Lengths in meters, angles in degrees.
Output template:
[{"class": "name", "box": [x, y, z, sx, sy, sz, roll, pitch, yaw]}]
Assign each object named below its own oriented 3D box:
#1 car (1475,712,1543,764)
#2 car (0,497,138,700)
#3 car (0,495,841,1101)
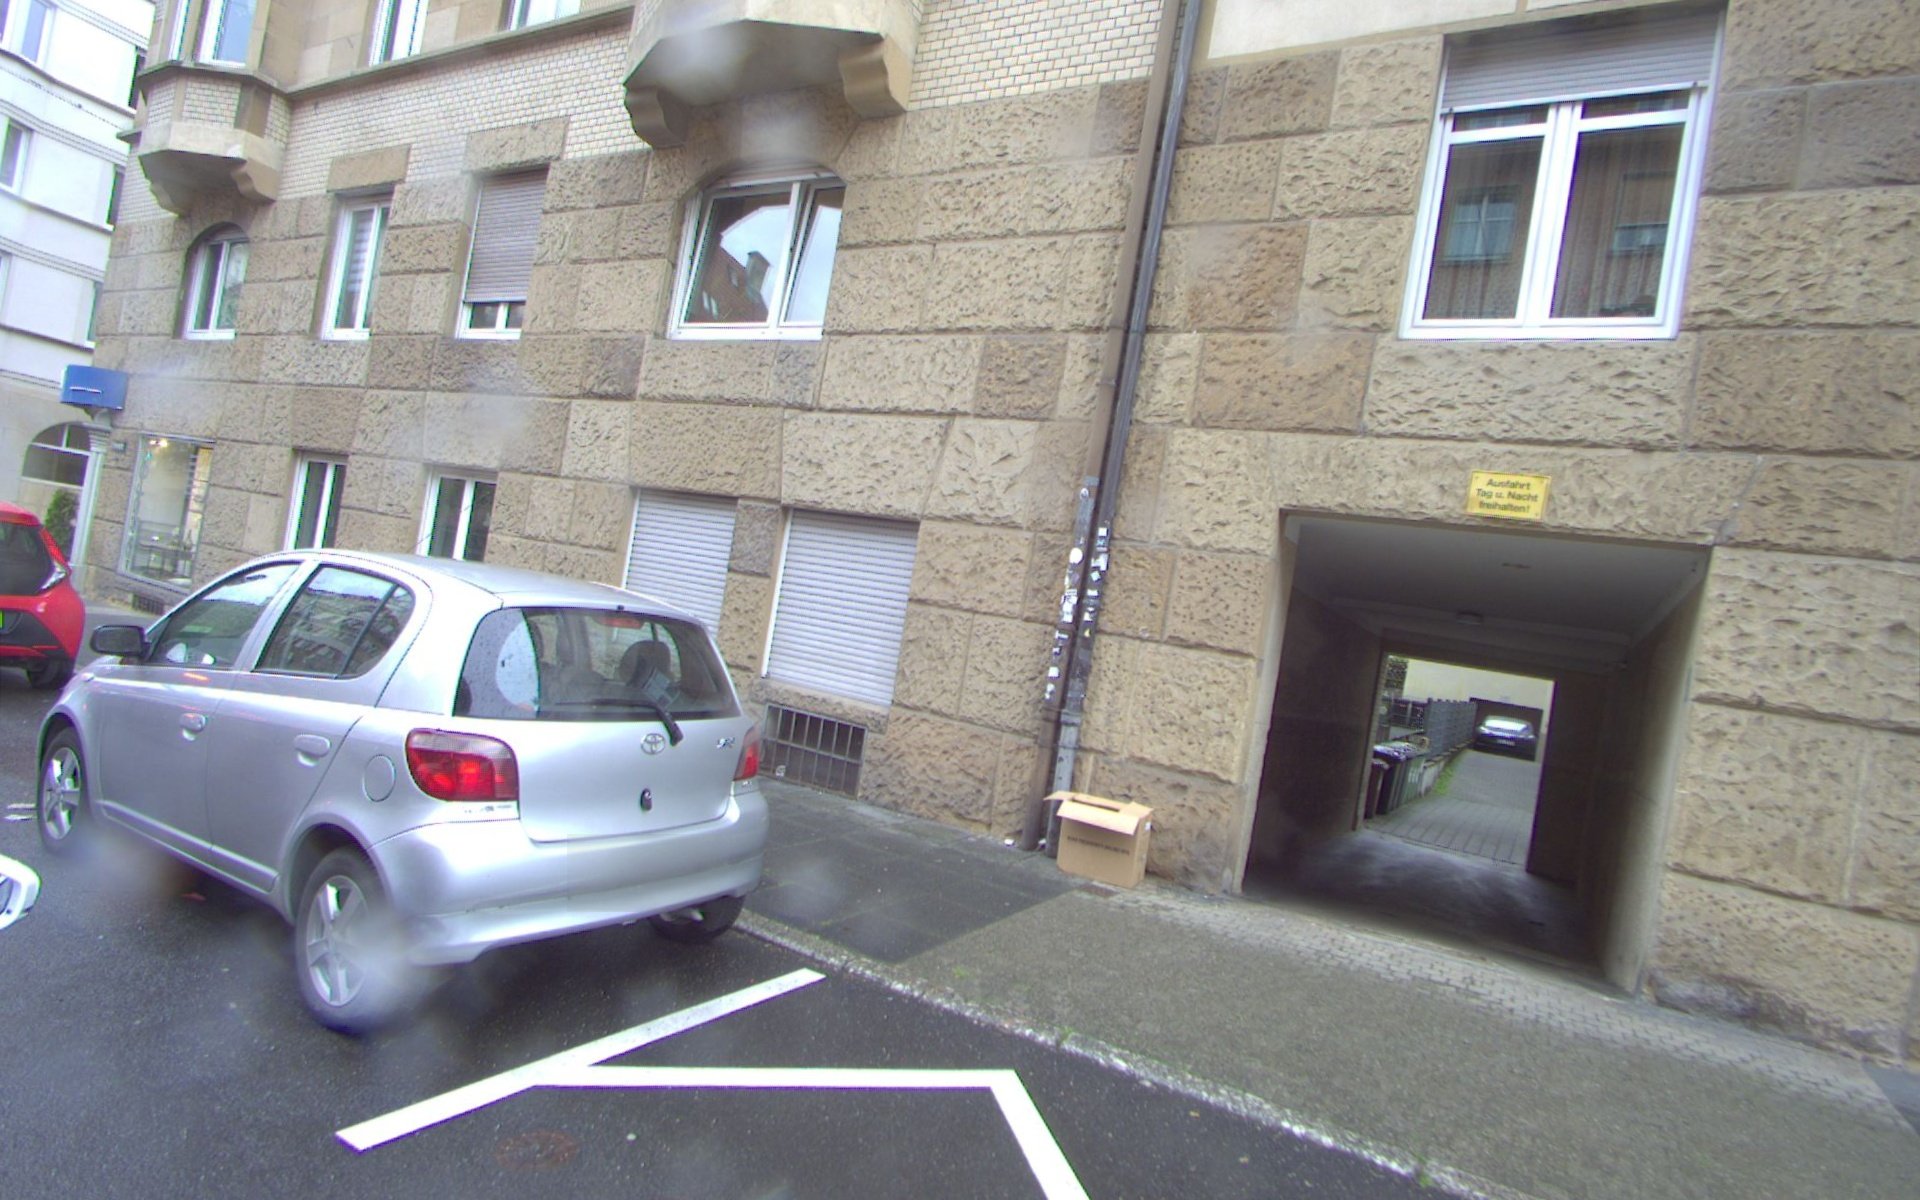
[{"class": "car", "box": [18.436, 4.588, 33.845, 1.764, 1.362, 4.015, 6, -2, 28]}, {"class": "car", "box": [-8.639, -0.205, 8.203, 3.472, 1.469, 1.711, 7, -3, 29]}, {"class": "car", "box": [-2.445, 0.516, 4.336, 3.464, 1.504, 1.597, 7, -1, 32]}]
